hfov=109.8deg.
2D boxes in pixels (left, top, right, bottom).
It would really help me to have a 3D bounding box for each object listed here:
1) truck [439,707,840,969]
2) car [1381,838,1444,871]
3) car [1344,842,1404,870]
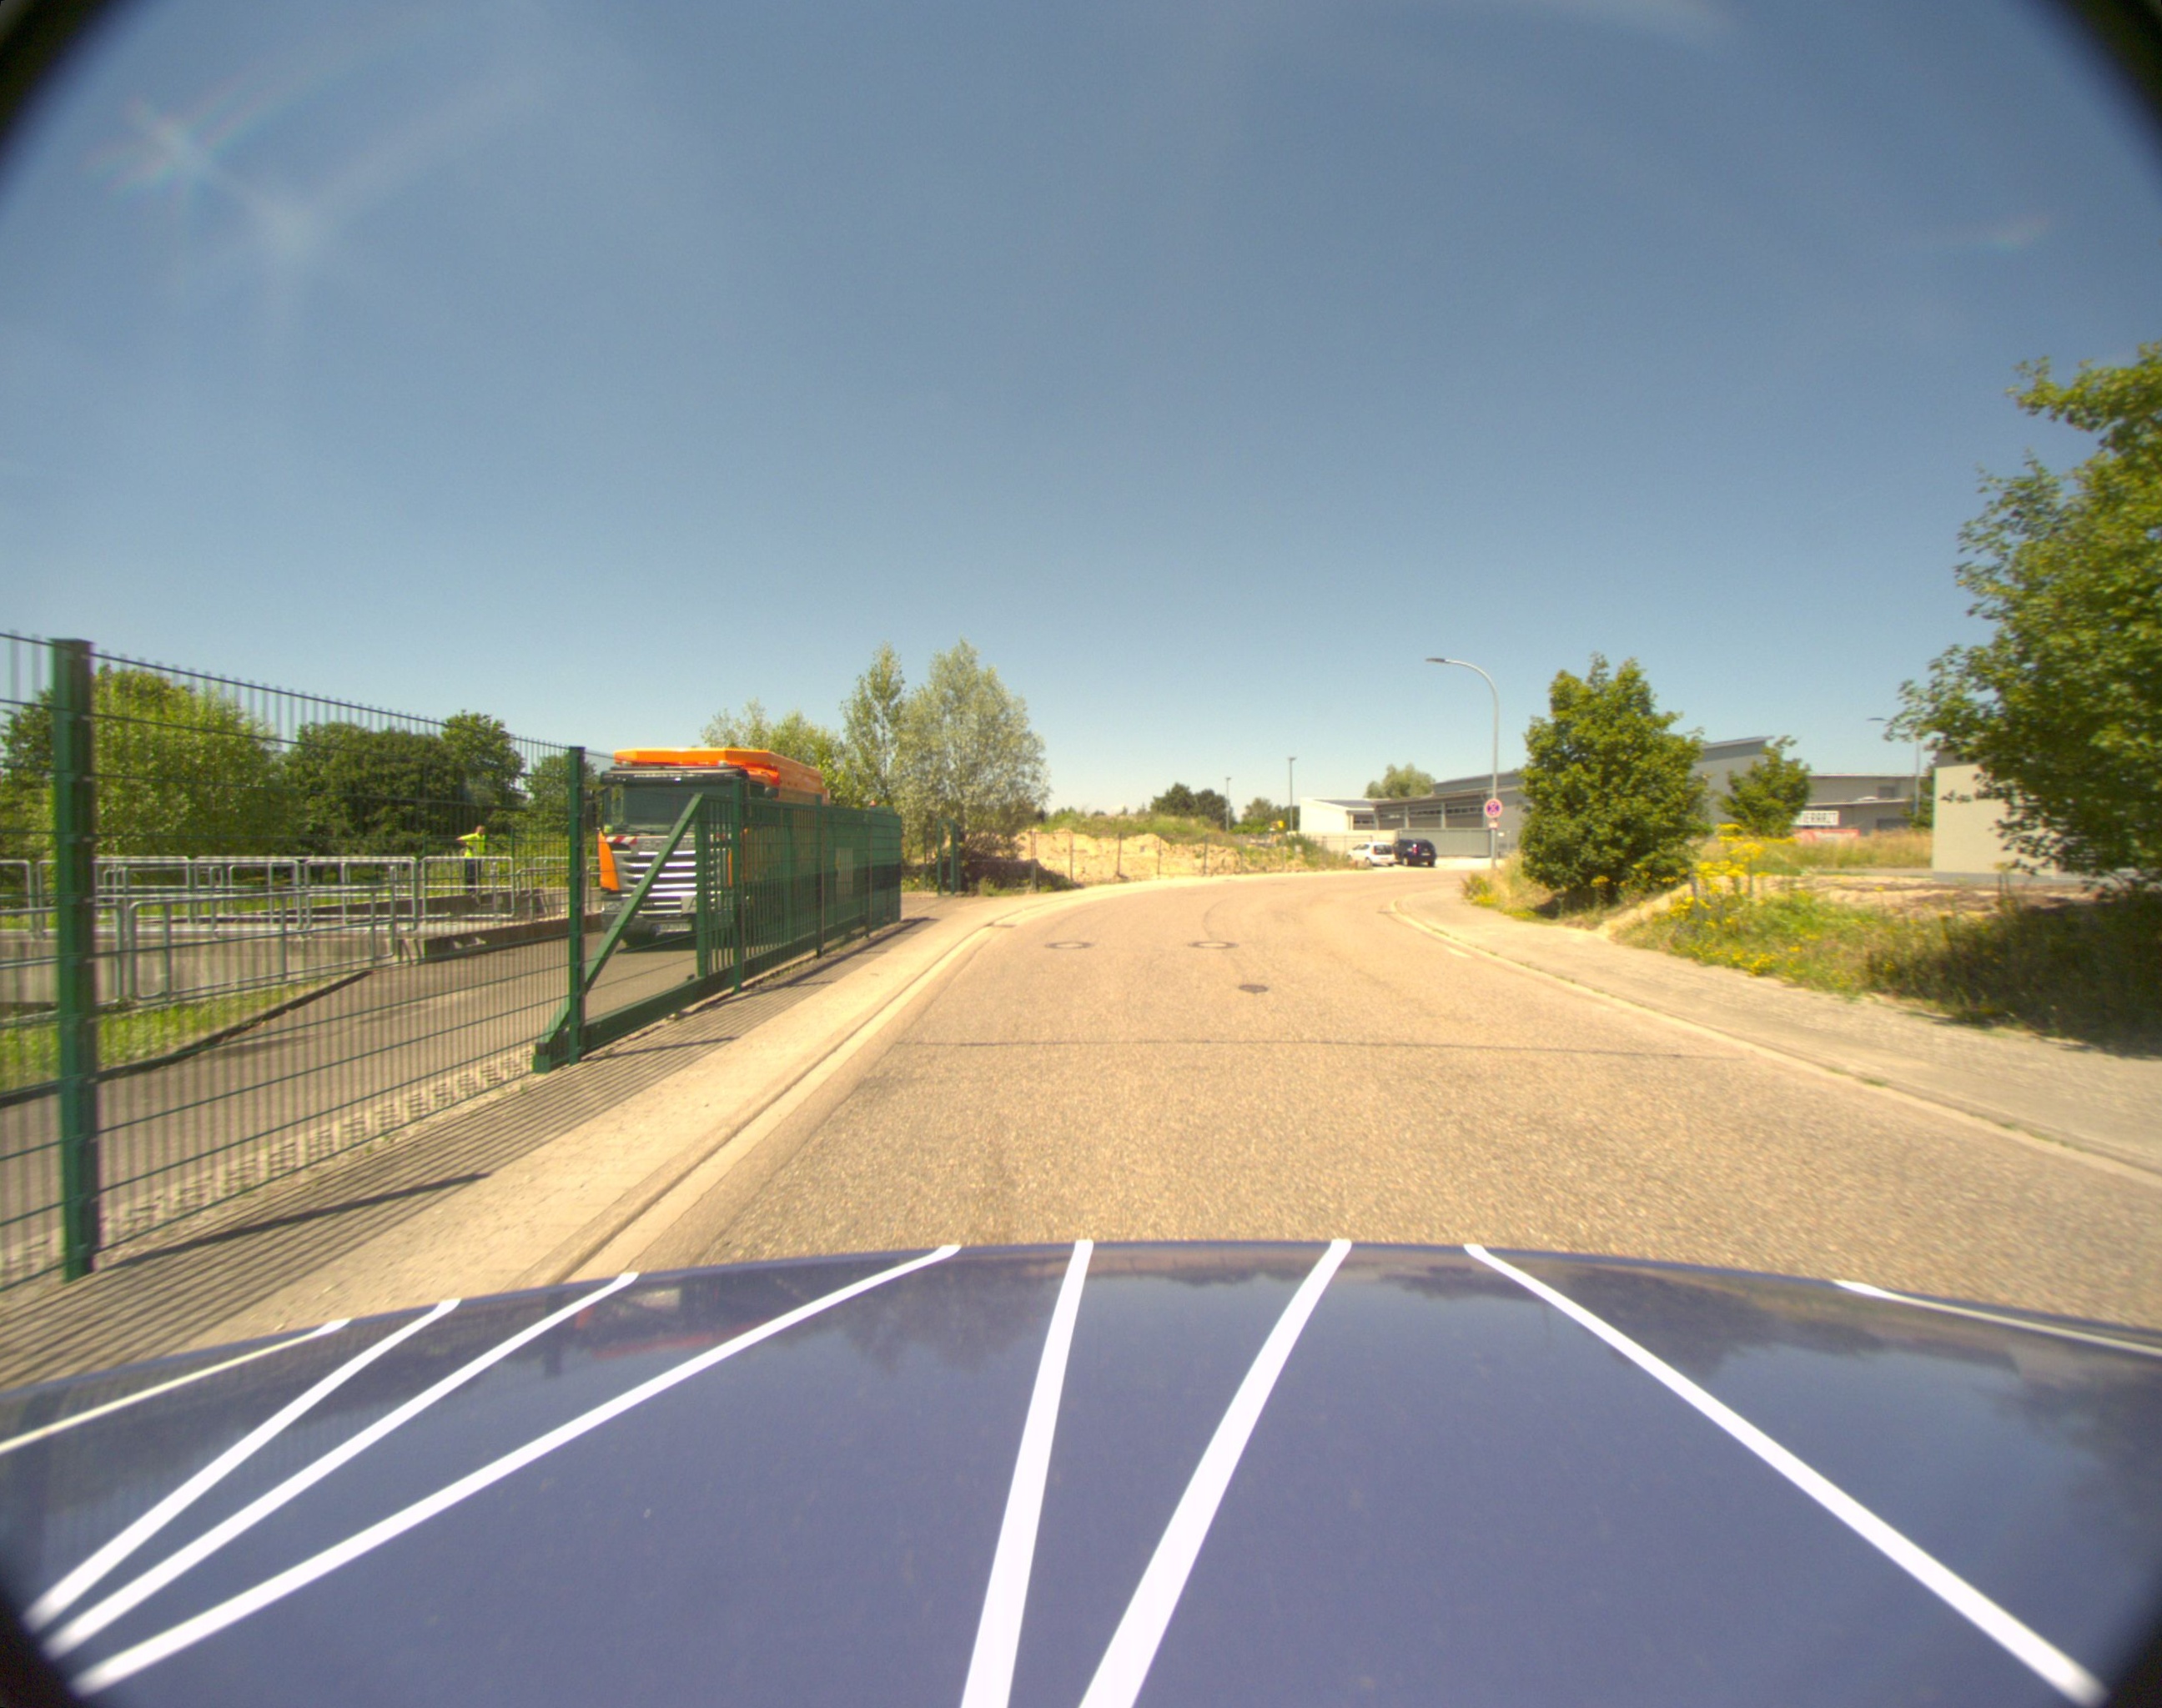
[{"bbox_3d":[-7.812,-0.313,15.543,4.165,3.785,8.602,0,1,-9],"label":"truck"},{"bbox_3d":[20.609,-0.022,47.478,1.857,1.647,4.017,0,6,-5],"label":"car"},{"bbox_3d":[18.213,0.089,47.416,1.892,1.454,4.018,0,3,-5],"label":"car"}]
